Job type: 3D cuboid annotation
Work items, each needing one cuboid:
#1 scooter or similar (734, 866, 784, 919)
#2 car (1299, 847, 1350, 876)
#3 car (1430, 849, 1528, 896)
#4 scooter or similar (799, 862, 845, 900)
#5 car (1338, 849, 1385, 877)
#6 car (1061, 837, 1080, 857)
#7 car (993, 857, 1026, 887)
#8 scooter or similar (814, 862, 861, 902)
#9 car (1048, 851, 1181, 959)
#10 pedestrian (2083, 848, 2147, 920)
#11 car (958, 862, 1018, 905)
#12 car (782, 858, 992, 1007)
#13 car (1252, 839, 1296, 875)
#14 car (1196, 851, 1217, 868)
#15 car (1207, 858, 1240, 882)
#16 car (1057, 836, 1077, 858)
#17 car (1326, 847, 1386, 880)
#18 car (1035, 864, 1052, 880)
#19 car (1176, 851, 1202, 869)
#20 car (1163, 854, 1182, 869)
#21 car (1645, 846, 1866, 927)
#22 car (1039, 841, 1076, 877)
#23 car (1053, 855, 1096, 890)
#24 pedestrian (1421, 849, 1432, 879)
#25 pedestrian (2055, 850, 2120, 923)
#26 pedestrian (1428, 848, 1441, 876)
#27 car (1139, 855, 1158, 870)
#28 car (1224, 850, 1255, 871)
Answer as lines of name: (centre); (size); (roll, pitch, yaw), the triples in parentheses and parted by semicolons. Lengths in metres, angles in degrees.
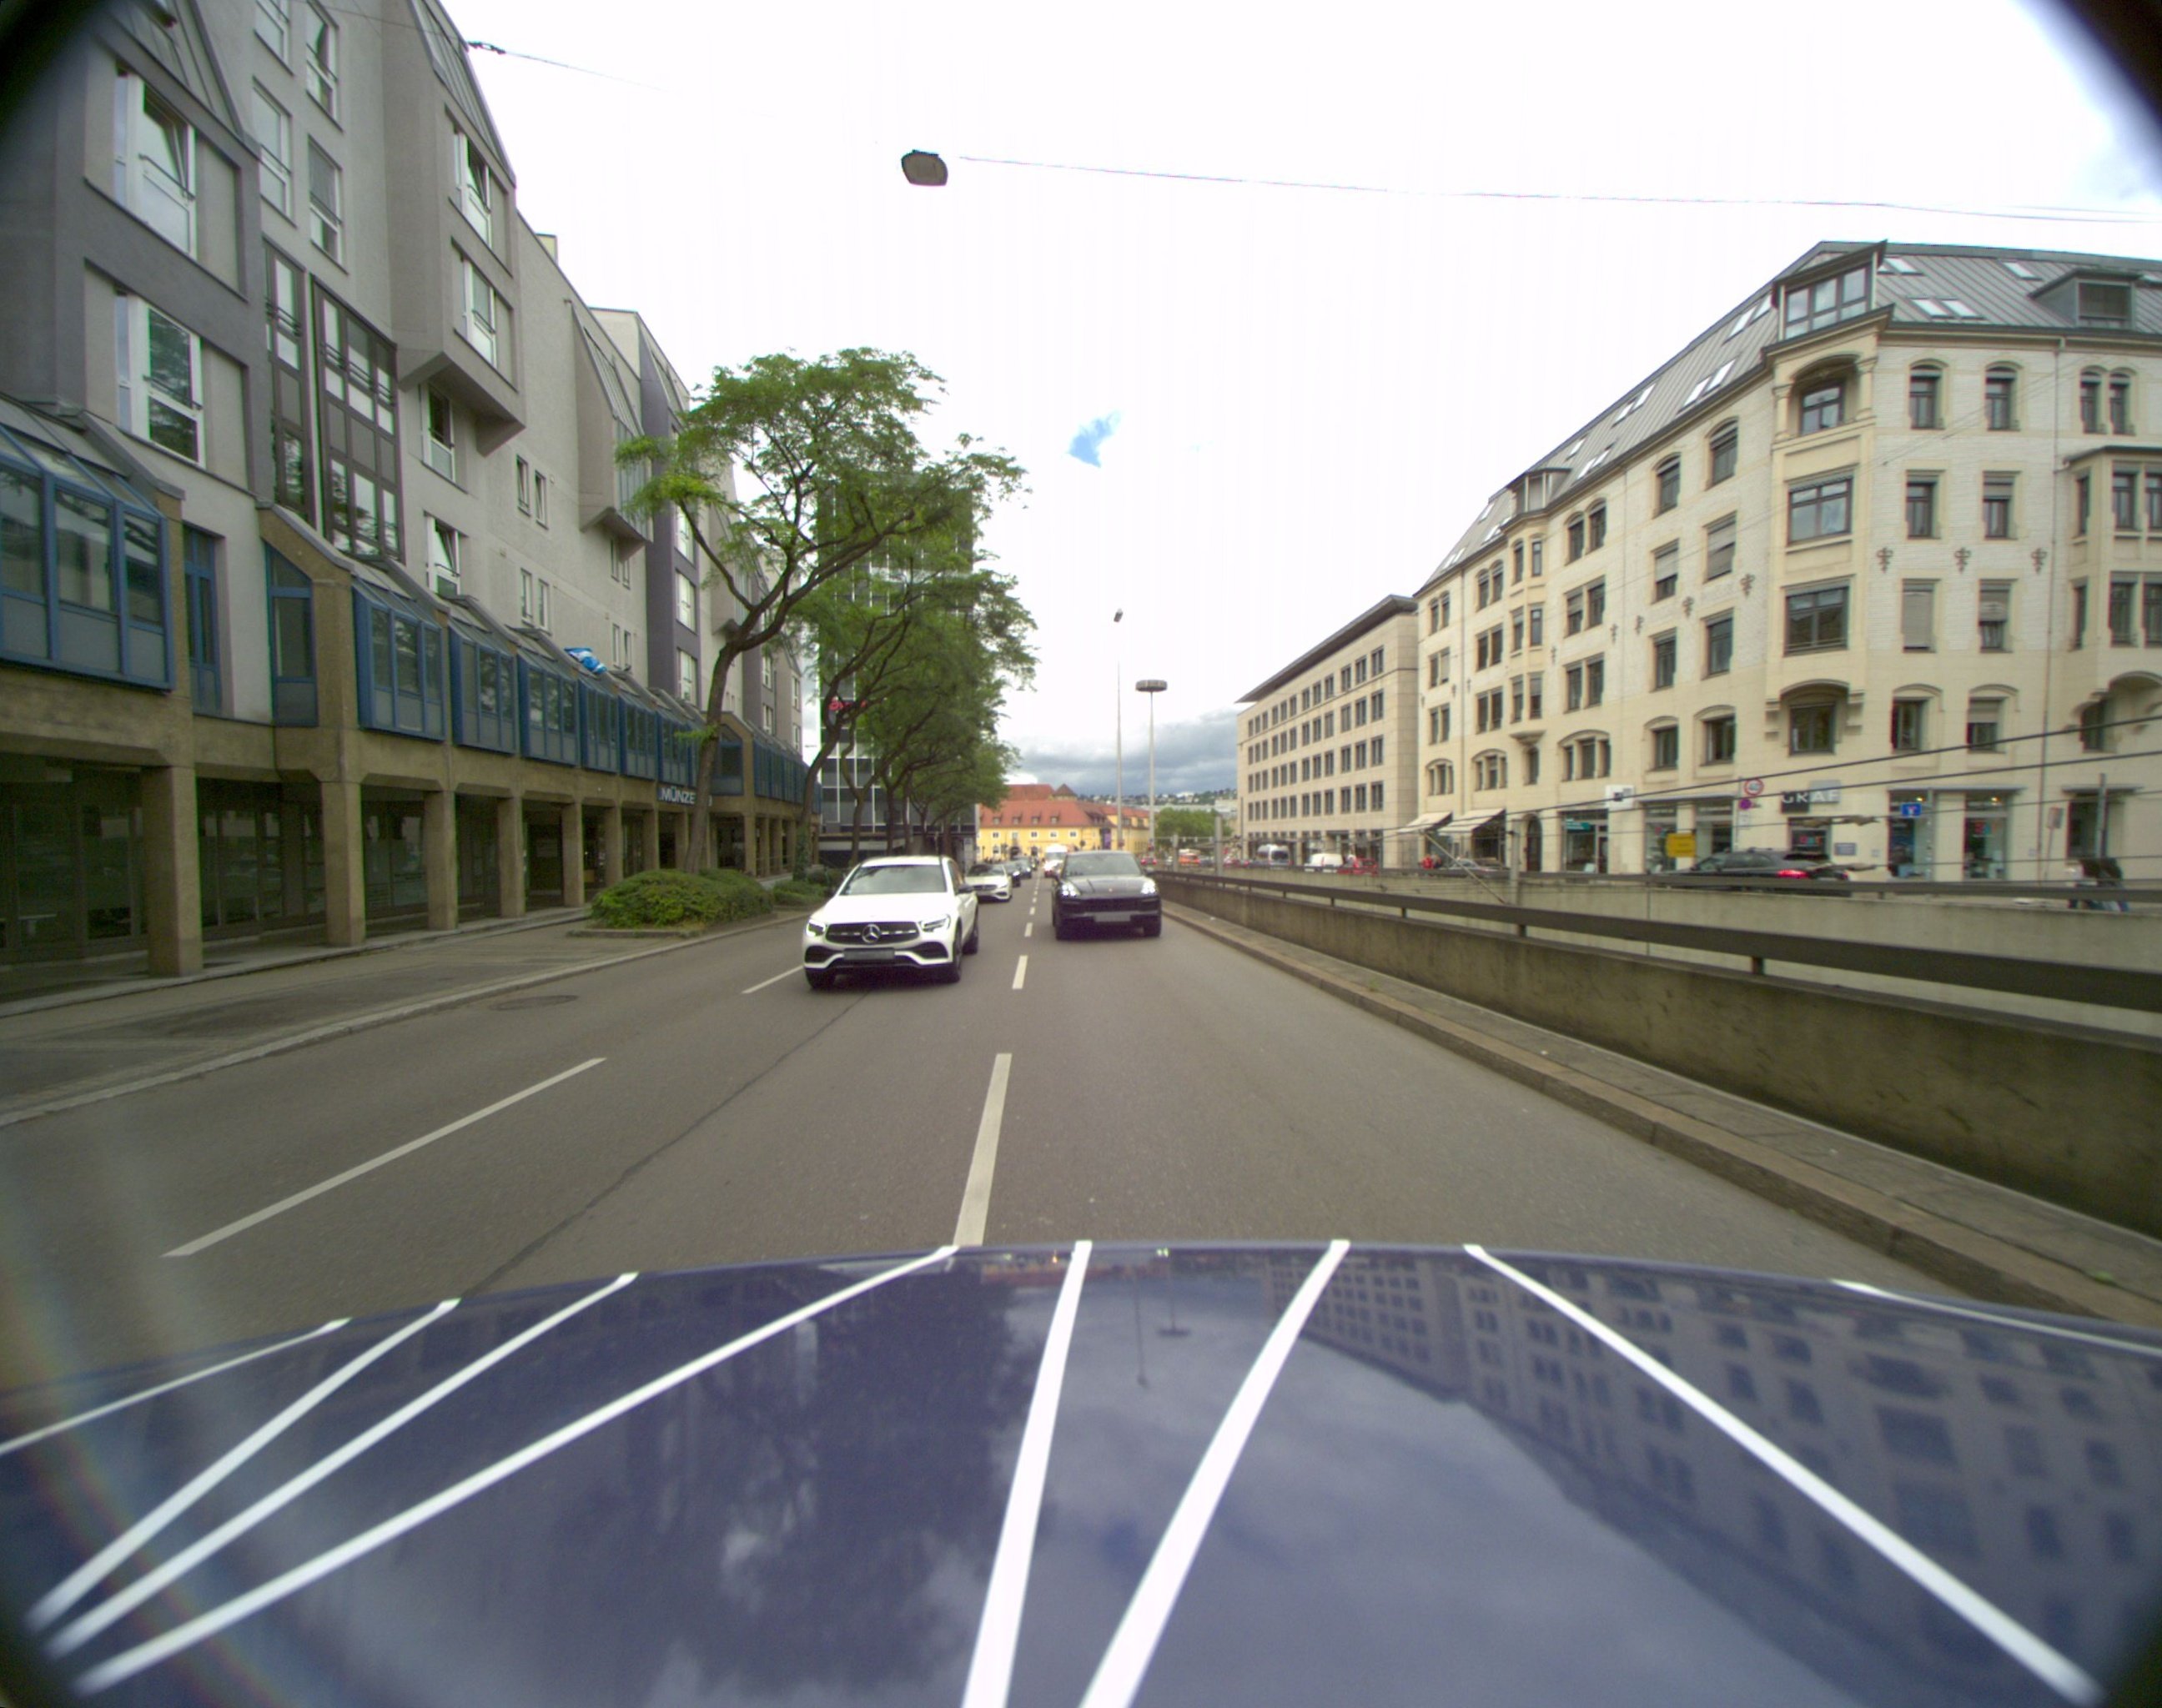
scooter or similar: (-9.017, 1.075, 21.303); (1.180, 1.426, 0.577); (-2, 1, 24)
car: (17.970, 0.525, 56.266); (1.999, 2.002, 4.789); (-2, 1, -2)
car: (18.861, 0.803, 36.293); (1.999, 2.002, 4.789); (-2, 1, -2)
scooter or similar: (-10.470, 1.086, 30.743); (1.600, 1.425, 0.730); (-3, 1, -33)
car: (21.382, 0.656, 58.146); (1.999, 2.002, 3.999); (0, 0, -2)
car: (-1.538, -1.064, 110.610); (2.503, 2.793, 5.726); (-2, 1, -1)
car: (-4.216, 1.061, 45.190); (1.640, 1.602, 3.659); (-2, 1, -2)
scooter or similar: (-9.478, 1.074, 29.588); (1.536, 1.425, 0.686); (-3, 1, -33)
car: (0.447, 0.833, 14.950); (2.088, 1.665, 5.351); (-2, 0, -2)
pedestrian: (25.111, 0.716, 18.460); (0.712, 1.701, 0.687); (-1, 0, -13)
car: (-3.486, 1.073, 29.251); (1.890, 1.378, 4.608); (-2, 1, -2)
car: (-2.487, 0.923, 10.823); (2.060, 1.599, 3.925); (-2, 1, -2)
car: (17.331, 0.258, 68.586); (2.370, 3.043, 5.467); (-2, 1, -2)
car: (15.707, 0.675, 95.344); (1.999, 2.002, 3.999); (0, 0, -1)
car: (13.495, 1.468, 72.173); (1.999, 2.002, 4.789); (-2, 1, -2)
car: (-1.868, -0.914, 103.528); (2.503, 2.793, 5.726); (-2, 1, -1)
car: (18.017, 0.574, 49.994); (1.999, 2.002, 4.789); (-2, 1, -2)
car: (-4.483, 2.080, 90.400); (1.890, 1.674, 4.608); (-2, 1, -2)
car: (12.746, 0.639, 89.683); (2.115, 2.002, 4.789); (-2, 1, -2)
car: (12.558, 0.982, 104.598); (1.999, 2.002, 3.999); (0, 0, -1)
car: (19.120, 0.816, 21.922); (1.999, 2.002, 4.789); (-2, 1, -2)
car: (-1.847, 0.352, 61.844); (2.294, 2.723, 4.755); (-2, 1, 5)
car: (-0.323, 0.873, 37.336); (1.950, 1.521, 3.999); (-2, 1, -1)
pedestrian: (20.715, 0.579, 45.548); (0.510, 1.769, 0.578); (-1, 1, 22)
pedestrian: (24.116, 0.756, 18.209); (0.712, 1.701, 0.687); (-1, 0, -13)
pedestrian: (22.199, 0.488, 47.663); (0.576, 1.769, 0.511); (-1, 1, 5)
car: (8.830, 1.088, 99.403); (1.999, 2.002, 3.999); (0, 0, -1)
car: (16.009, 0.631, 77.051); (1.999, 2.002, 4.789); (-2, 1, -2)
